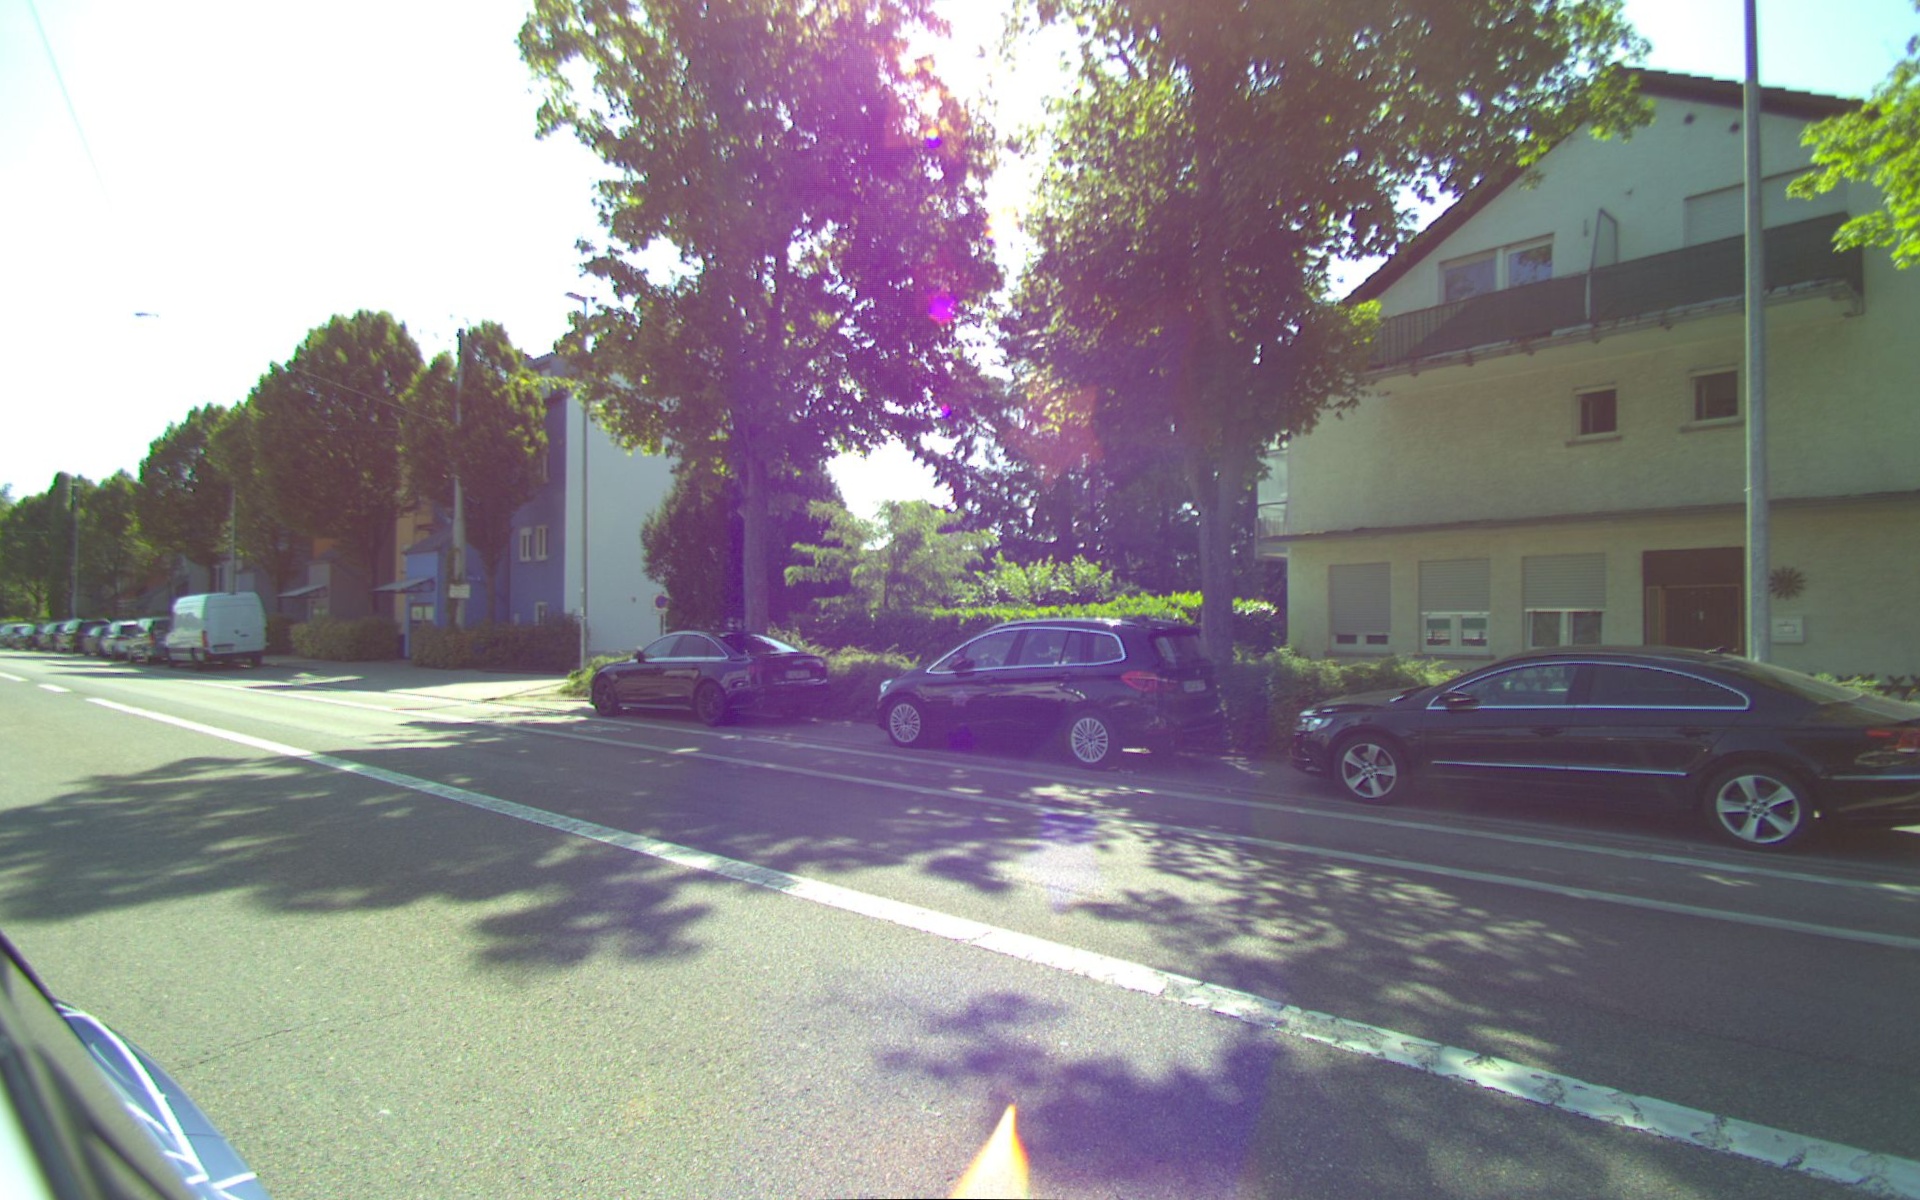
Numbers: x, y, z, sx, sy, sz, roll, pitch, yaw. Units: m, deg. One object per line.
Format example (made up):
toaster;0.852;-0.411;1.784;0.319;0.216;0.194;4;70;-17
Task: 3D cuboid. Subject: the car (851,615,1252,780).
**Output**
car;0.939;1.018;12.239;4.619;1.583;1.844;-1;0;41

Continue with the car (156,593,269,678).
car;-27.362;1.244;36.953;6.213;2.713;1.973;-2;4;43

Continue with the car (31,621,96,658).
car;-50.236;2.202;56.658;4.766;1.818;1.974;-2;4;41

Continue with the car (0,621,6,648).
car;-68.762;2.515;71.039;4.766;1.818;1.974;-2;4;41

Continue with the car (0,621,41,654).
car;-60.195;2.357;64.274;4.766;1.818;1.974;-2;4;41

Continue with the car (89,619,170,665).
car;-38.044;1.882;46.320;4.766;1.818;1.974;-2;4;41

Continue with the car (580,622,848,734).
car;-4.099;1.156;16.475;4.616;1.583;1.845;-1;-2;39

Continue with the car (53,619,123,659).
car;-45.782;2.020;53.103;4.766;1.818;1.974;-2;4;41

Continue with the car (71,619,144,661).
car;-42.114;1.957;49.995;4.254;1.818;1.974;-2;4;41

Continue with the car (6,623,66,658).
car;-54.893;2.385;60.102;4.766;1.818;1.974;-2;4;41

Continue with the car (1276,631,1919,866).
car;5.244;1.011;8.451;4.619;1.426;1.844;-1;0;41

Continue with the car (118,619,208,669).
car;-33.508;1.816;42.503;4.766;1.818;1.974;-2;4;41
